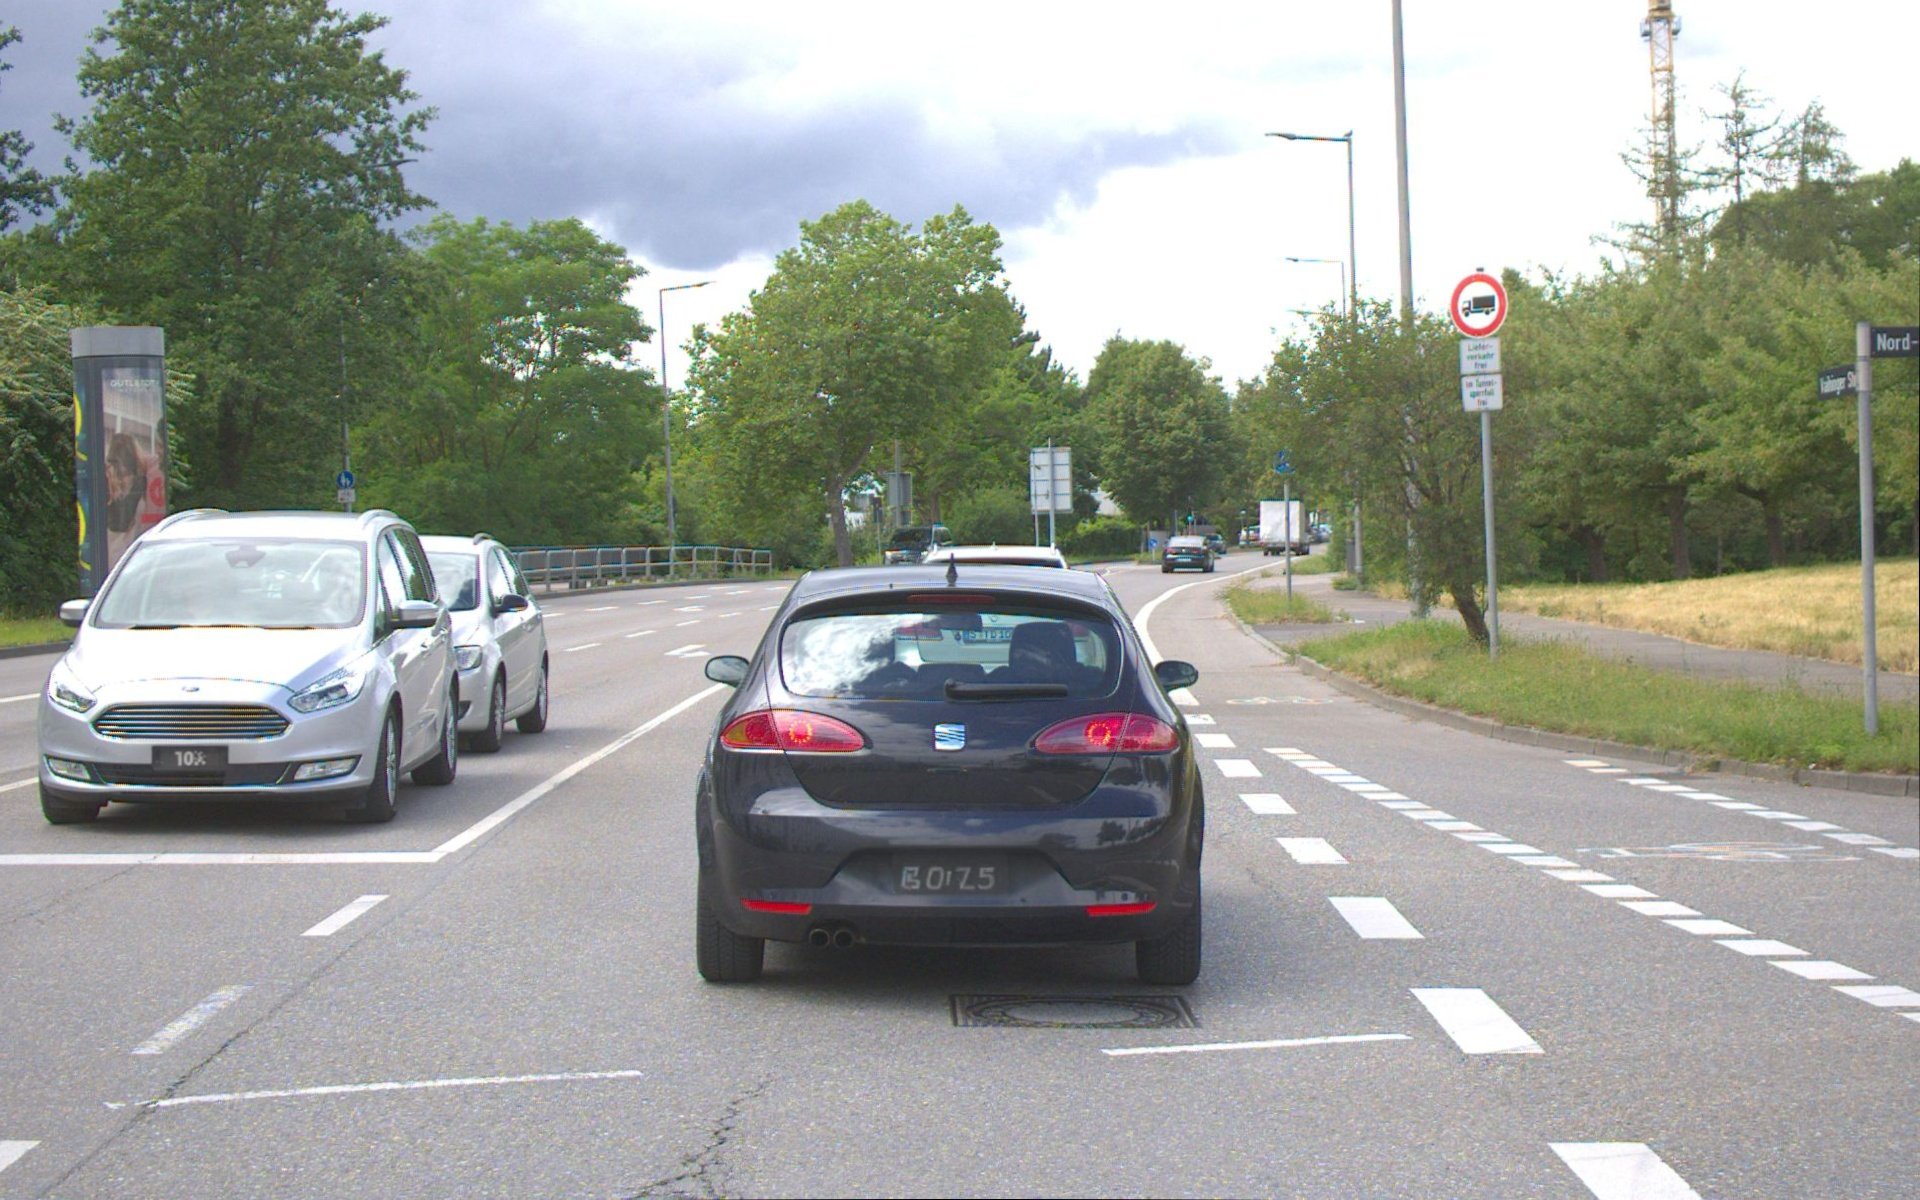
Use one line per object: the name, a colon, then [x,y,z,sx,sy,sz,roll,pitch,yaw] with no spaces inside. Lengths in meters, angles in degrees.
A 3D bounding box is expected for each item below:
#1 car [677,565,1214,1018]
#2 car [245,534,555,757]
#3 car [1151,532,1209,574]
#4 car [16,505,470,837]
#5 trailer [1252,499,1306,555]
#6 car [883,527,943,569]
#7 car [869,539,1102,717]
car: [-0.160,0.597,12.730,1.711,1.412,3.460,0,1,-4]
car: [-4.121,0.278,25.857,1.660,1.513,4.084,0,1,0]
car: [8.480,-1.812,132.414,1.994,1.560,4.470,0,1,6]
car: [-3.993,0.312,19.895,1.820,1.681,4.646,1,1,-2]
trailer: [18.147,-4.112,195.207,2.492,3.063,5.584,1,0,11]
car: [-1.772,-1.969,131.207,1.715,1.576,3.741,1,0,8]
car: [0.164,0.218,30.458,1.834,1.462,3.751,1,0,-3]
